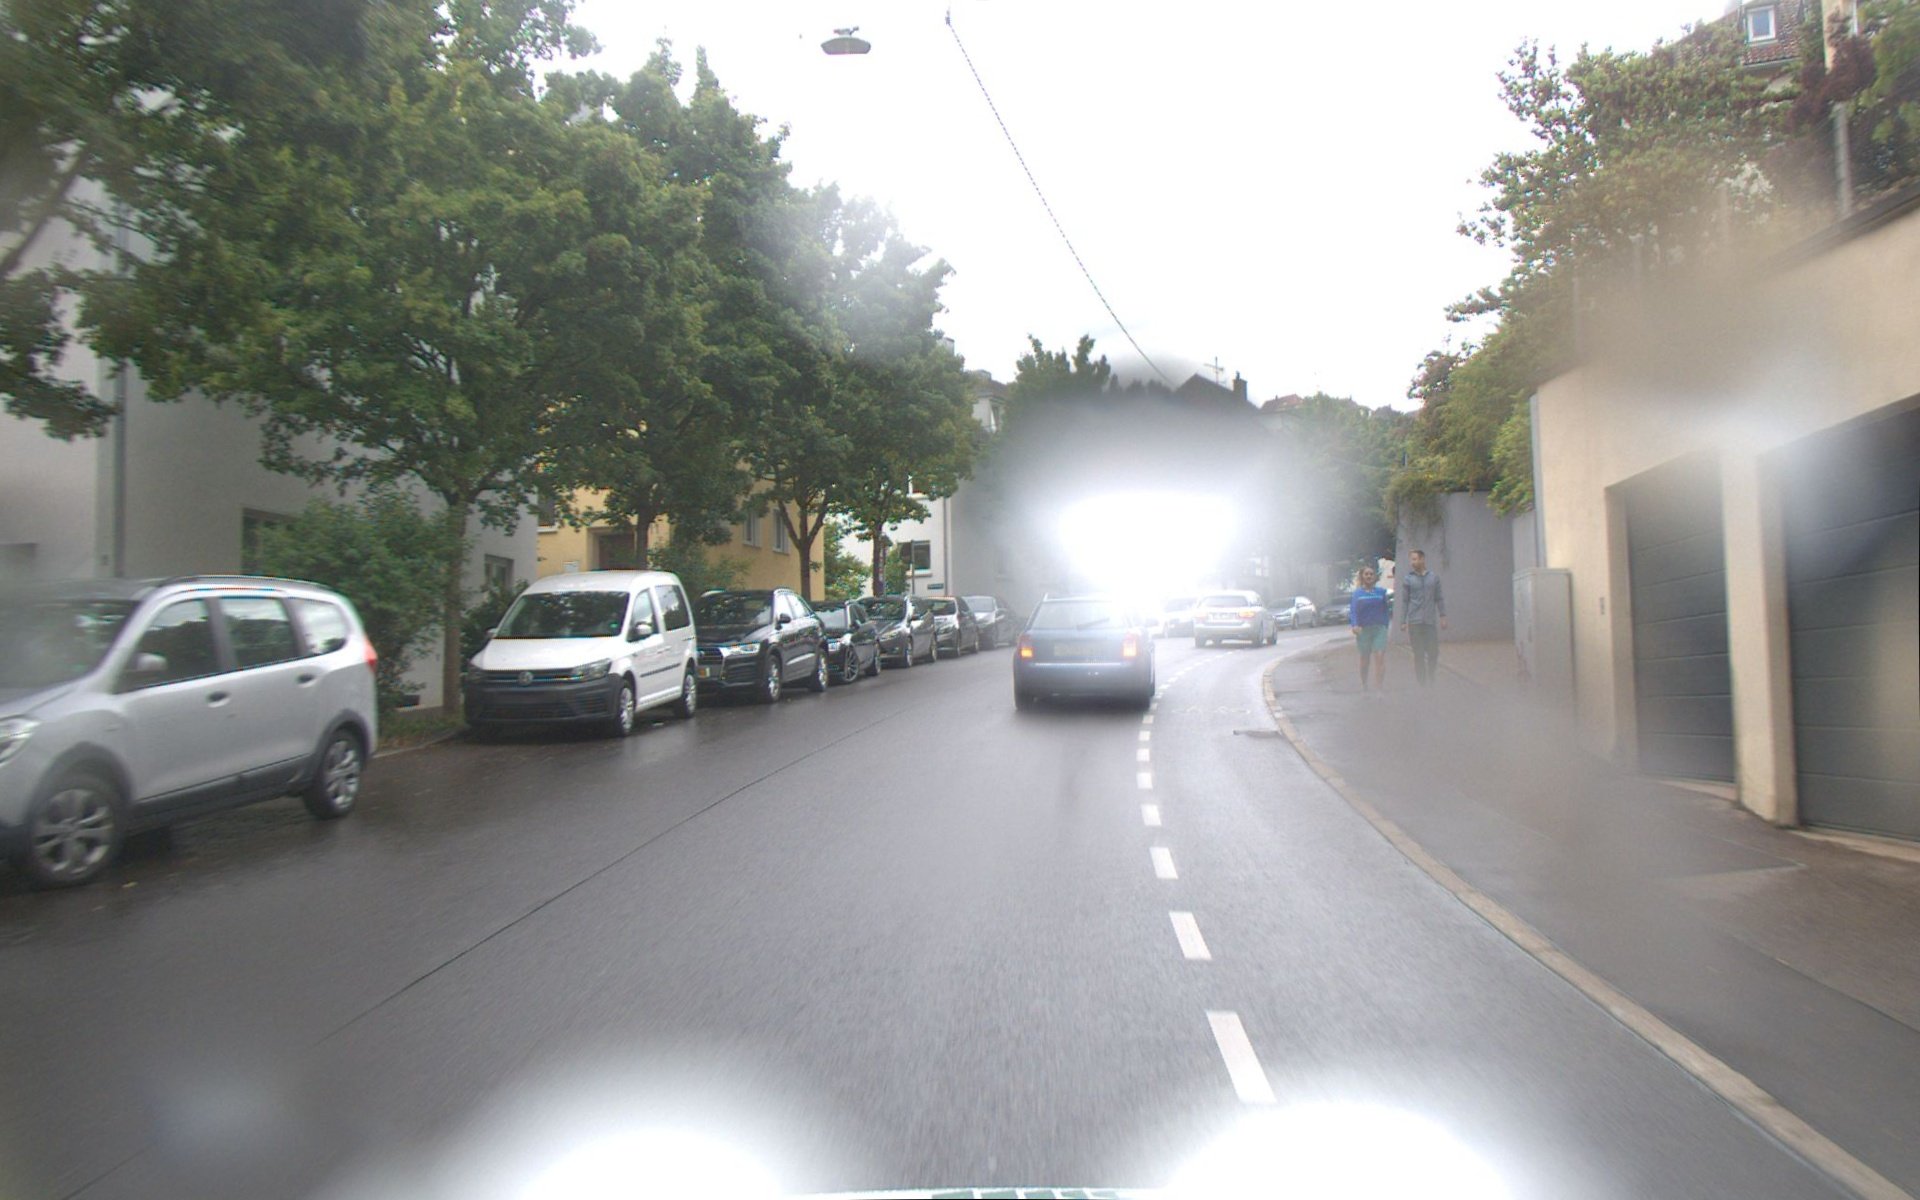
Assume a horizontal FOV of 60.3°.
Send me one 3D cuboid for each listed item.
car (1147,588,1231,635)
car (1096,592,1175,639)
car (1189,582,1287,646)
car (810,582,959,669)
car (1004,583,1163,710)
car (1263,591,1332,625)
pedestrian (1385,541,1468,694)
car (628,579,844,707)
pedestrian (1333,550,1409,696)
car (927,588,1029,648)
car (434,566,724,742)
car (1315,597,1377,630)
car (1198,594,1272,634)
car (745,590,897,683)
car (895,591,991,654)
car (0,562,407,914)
[{"bbox_3d":[9.098,0.465,65.579,1.751,1.675,4.338,-6,-3,29],"label":"car"},{"bbox_3d":[6.482,0.595,60.678,1.748,1.541,4.346,-5,-3,20],"label":"car"},{"bbox_3d":[7.526,0.341,44.527,1.909,1.588,4.265,1,1,19],"label":"car"},{"bbox_3d":[-1.532,0.501,35.347,1.814,1.720,4.558,-1,0,16],"label":"car"},{"bbox_3d":[1.724,0.553,21.784,1.814,1.438,4.365,-2,0,7],"label":"car"},{"bbox_3d":[15.322,0.379,74.974,1.770,1.479,4.589,-2,-1,29],"label":"car"},{"bbox_3d":[5.931,0.219,21.082,0.759,1.864,1.252,-3,-1,7],"label":"pedestrian"},{"bbox_3d":[-3.208,0.590,24.717,1.814,1.697,4.592,-2,0,10],"label":"car"},{"bbox_3d":[5.237,0.291,21.134,0.758,1.789,1.012,-3,-1,7],"label":"pedestrian"},{"bbox_3d":[0.556,0.481,45.533,1.737,1.567,4.520,-1,0,15],"label":"car"},{"bbox_3d":[-4.289,0.561,19.406,1.814,1.808,4.486,-1,0,8],"label":"car"},{"bbox_3d":[19.757,0.704,84.528,1.771,1.579,4.791,-2,-1,29],"label":"car"},{"bbox_3d":[11.732,0.604,70.470,1.770,1.511,4.230,-5,-3,28],"label":"car"},{"bbox_3d":[-2.412,0.593,29.915,1.814,1.525,4.744,-1,0,6],"label":"car"},{"bbox_3d":[-0.363,0.521,40.504,1.579,1.421,4.326,-2,0,9],"label":"car"},{"bbox_3d":[-5.288,0.679,10.190,1.709,1.720,4.604,-1,0,7],"label":"car"}]
